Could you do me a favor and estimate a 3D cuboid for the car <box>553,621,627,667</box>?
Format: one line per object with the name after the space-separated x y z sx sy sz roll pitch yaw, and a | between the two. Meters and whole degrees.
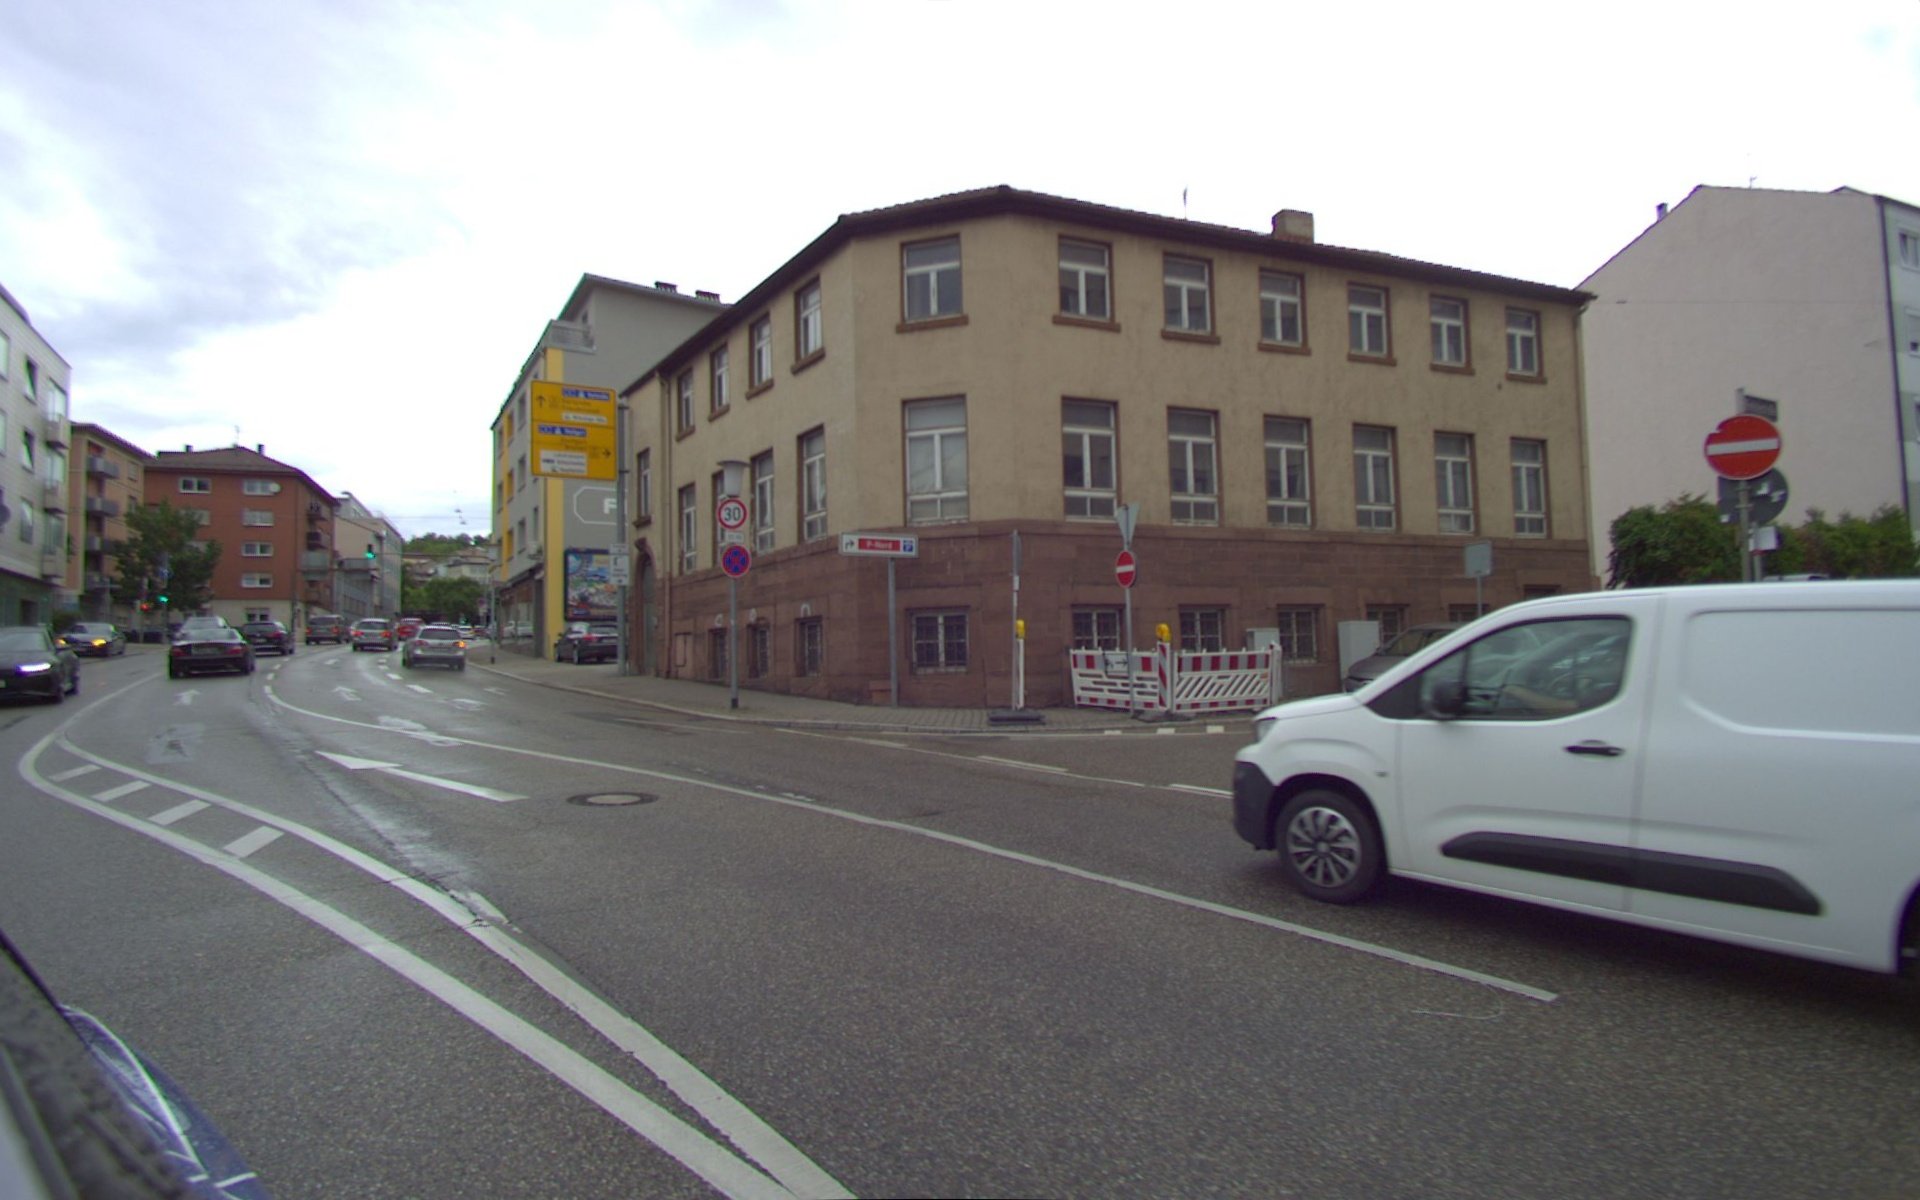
-13.501 1.565 36.810 1.832 1.465 3.975 -3 0 -29 | car

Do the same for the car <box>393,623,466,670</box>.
-18.525 1.608 35.239 1.832 1.465 4.330 4 -4 -32 | car

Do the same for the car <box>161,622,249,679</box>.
-21.297 1.372 28.679 1.833 1.465 4.329 0 -1 -34 | car

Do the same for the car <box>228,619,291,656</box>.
-29.453 1.574 42.640 1.832 1.465 4.331 2 -2 -30 | car

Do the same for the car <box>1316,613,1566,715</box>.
8.086 1.044 17.015 3.747 1.478 1.759 -1 -4 -26 | car

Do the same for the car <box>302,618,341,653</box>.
-36.572 2.018 58.007 1.818 1.918 3.776 1 -2 -32 | car

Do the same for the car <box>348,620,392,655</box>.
-29.806 1.868 51.123 1.832 1.711 4.331 2 -2 -31 | car

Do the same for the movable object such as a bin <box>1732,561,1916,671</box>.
20.679 0.377 24.216 3.931 2.452 1.759 -1 -4 -26 | movable object such as a bin

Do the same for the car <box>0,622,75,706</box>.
-18.570 1.200 19.603 1.679 1.471 4.329 -1 0 -35 | car

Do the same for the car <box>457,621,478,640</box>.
-50.581 3.074 103.892 1.818 1.918 3.777 1 -1 -27 | car

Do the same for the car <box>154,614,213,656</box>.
-36.788 1.643 48.028 1.818 1.918 3.776 1 -2 -32 | car

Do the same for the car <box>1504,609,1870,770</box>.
8.507 0.906 11.774 4.290 1.515 1.759 -1 -1 -29 | car

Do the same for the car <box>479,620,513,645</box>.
-32.011 2.236 69.800 1.831 1.710 4.332 1 -2 -28 | car

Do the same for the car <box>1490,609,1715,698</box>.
12.124 1.003 19.147 3.453 1.478 1.759 -1 -4 -20 | car

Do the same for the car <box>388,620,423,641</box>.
-38.772 2.126 70.702 1.832 1.465 4.330 2 -2 -32 | car

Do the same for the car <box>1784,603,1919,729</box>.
13.290 0.799 13.573 3.931 1.478 1.759 -1 -1 -22 | car

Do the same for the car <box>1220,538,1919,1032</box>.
3.643 0.728 5.059 1.838 1.817 4.272 3 -3 -40 | car
